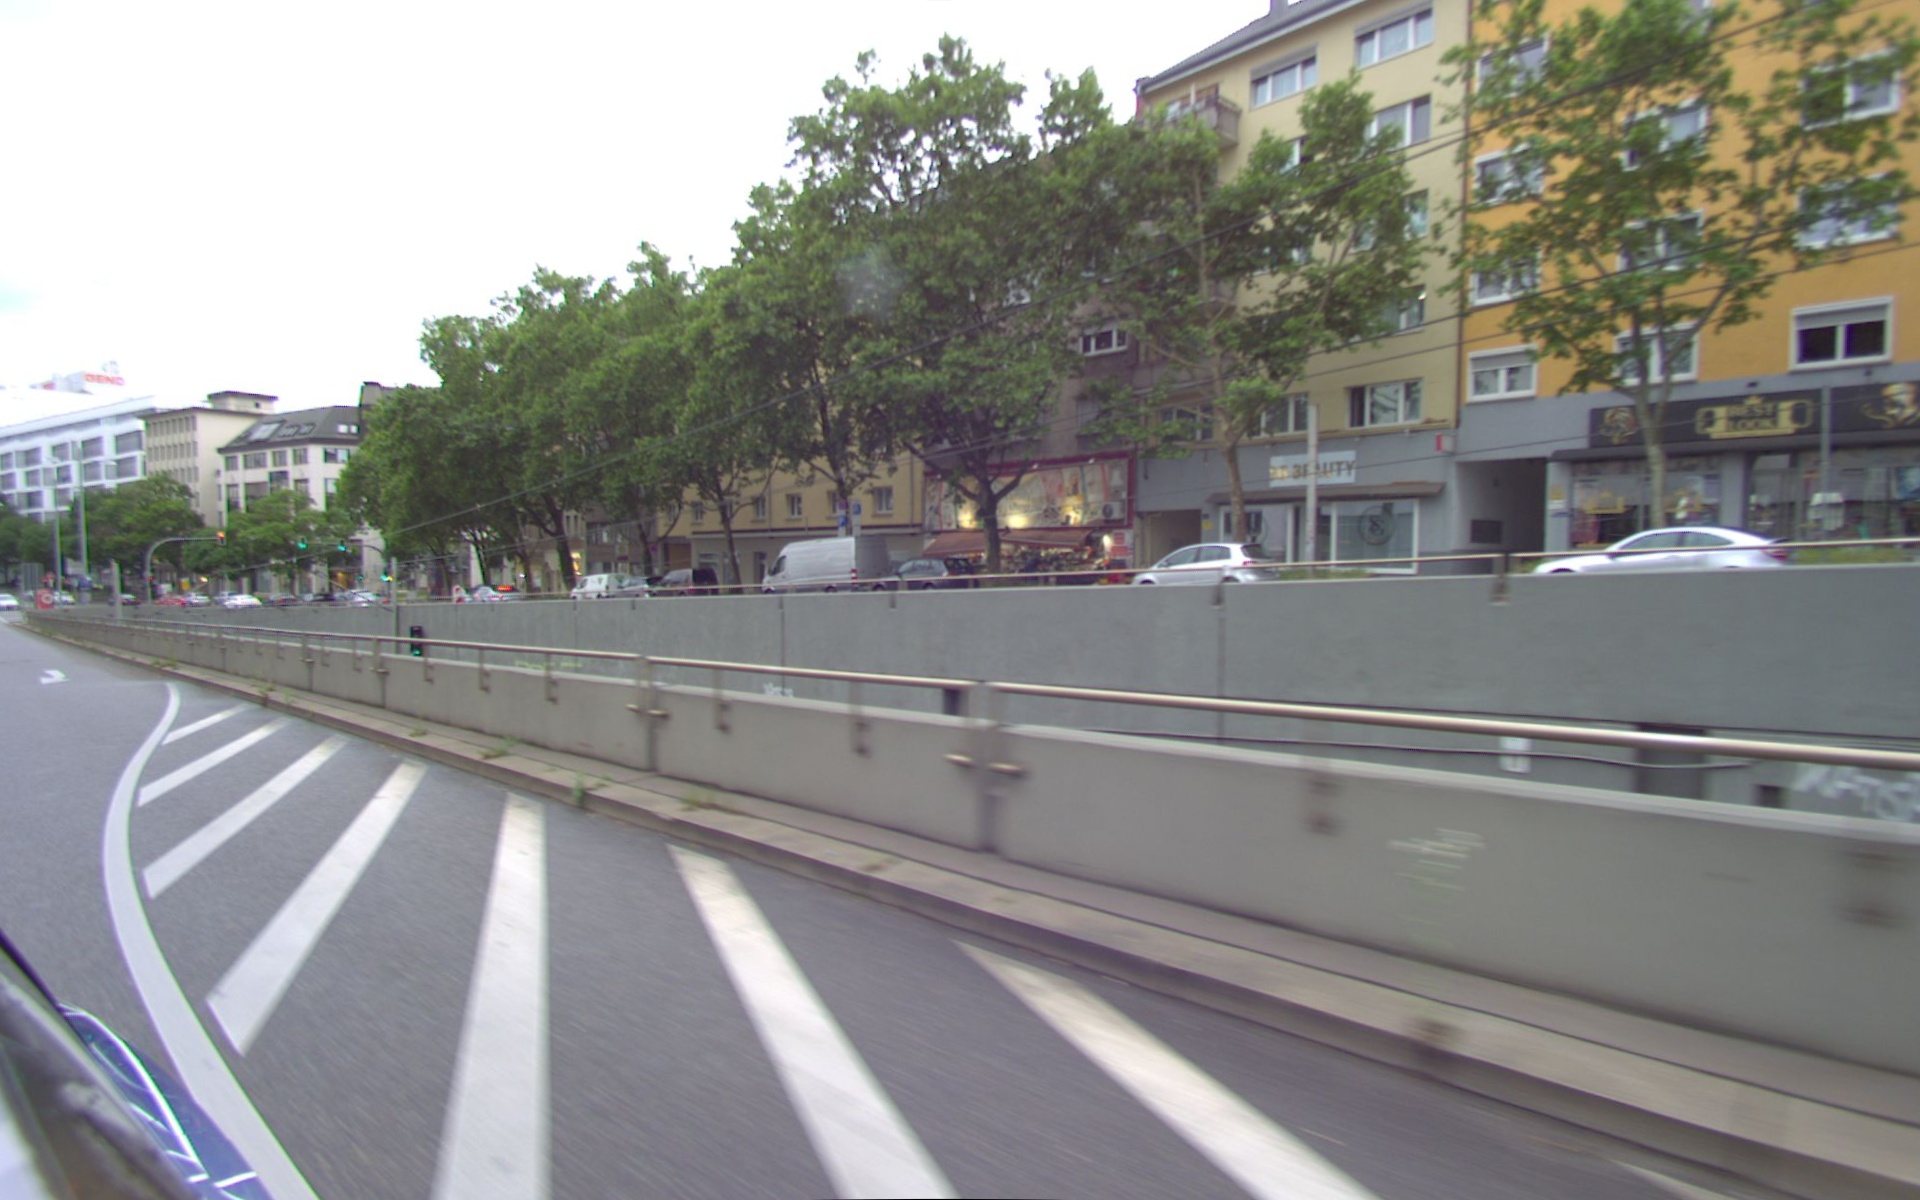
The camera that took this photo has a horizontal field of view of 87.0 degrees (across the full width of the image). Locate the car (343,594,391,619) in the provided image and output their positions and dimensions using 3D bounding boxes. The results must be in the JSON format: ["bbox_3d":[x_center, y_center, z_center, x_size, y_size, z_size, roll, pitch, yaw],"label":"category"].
[{"bbox_3d":[-40.573,0.478,69.201,1.825,1.521,4.826,-5,2,-43],"label":"car"}]

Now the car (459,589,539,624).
[{"bbox_3d":[-22.280,0.319,48.830,2.003,1.521,4.888,-5,2,-43],"label":"car"}]

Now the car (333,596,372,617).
[{"bbox_3d":[-49.381,0.555,82.243,1.773,1.591,4.020,-5,2,-43],"label":"car"}]

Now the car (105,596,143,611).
[{"bbox_3d":[-89.213,0.392,107.986,4.820,1.569,1.780,0,2,33],"label":"car"}]

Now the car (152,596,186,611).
[{"bbox_3d":[-78.632,0.359,100.587,3.871,1.411,1.571,0,2,35],"label":"car"}]

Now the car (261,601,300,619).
[{"bbox_3d":[-63.407,0.897,94.442,3.994,1.521,1.778,0,3,38],"label":"car"}]

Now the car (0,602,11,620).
[{"bbox_3d":[-100.753,1.177,105.428,3.988,1.756,1.781,-1,3,33],"label":"car"}]

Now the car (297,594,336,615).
[{"bbox_3d":[-49.797,0.331,78.263,1.773,1.521,4.349,-3,3,-43],"label":"car"}]

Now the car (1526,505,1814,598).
[{"bbox_3d":[13.447,-0.882,19.349,1.773,1.521,4.212,-5,2,-43],"label":"car"}]

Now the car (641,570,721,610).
[{"bbox_3d":[-13.538,-0.463,48.936,4.207,1.742,1.774,-1,2,44],"label":"car"}]

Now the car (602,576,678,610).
[{"bbox_3d":[-16.655,-0.337,52.607,1.856,1.595,4.476,-5,2,-44],"label":"car"}]

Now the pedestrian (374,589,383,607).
[{"bbox_3d":[-61.839,-0.238,107.602,0.581,1.822,0.675,-4,3,-39],"label":"pedestrian"}]

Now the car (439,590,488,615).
[{"bbox_3d":[-32.494,0.167,66.164,1.824,1.521,4.022,-4,2,-41],"label":"car"}]

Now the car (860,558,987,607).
[{"bbox_3d":[-1.358,-0.577,35.502,1.773,1.521,4.676,-5,2,-43],"label":"car"}]

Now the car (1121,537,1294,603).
[{"bbox_3d":[6.583,-0.776,27.241,1.773,1.582,4.212,-5,2,-43],"label":"car"}]

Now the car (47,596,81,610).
[{"bbox_3d":[-106.106,0.347,119.831,3.985,1.573,1.782,-1,2,31],"label":"car"}]

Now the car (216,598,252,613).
[{"bbox_3d":[-77.896,0.608,108.572,3.930,1.521,1.781,-1,3,33],"label":"car"}]

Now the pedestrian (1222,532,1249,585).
[{"bbox_3d":[9.357,-1.397,34.354,0.516,1.760,0.623,-6,4,-36],"label":"pedestrian"}]

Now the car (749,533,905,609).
[{"bbox_3d":[-5.416,-1.086,40.229,2.424,2.682,6.938,-4,2,-43],"label":"car"}]

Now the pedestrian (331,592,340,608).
[{"bbox_3d":[-68.474,-0.009,110.991,0.525,1.797,0.597,0,3,37],"label":"pedestrian"}]

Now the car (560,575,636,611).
[{"bbox_3d":[-20.186,-0.368,56.391,4.900,1.777,1.857,-1,2,43],"label":"car"}]

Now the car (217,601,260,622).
[{"bbox_3d":[-64.507,0.990,90.452,4.724,1.783,1.778,0,2,38],"label":"car"}]

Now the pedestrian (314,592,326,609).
[{"bbox_3d":[-71.299,0.043,112.757,0.615,1.797,0.825,0,3,37],"label":"pedestrian"}]

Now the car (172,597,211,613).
[{"bbox_3d":[-80.321,0.503,105.763,3.985,1.521,1.782,-1,2,31],"label":"car"}]
